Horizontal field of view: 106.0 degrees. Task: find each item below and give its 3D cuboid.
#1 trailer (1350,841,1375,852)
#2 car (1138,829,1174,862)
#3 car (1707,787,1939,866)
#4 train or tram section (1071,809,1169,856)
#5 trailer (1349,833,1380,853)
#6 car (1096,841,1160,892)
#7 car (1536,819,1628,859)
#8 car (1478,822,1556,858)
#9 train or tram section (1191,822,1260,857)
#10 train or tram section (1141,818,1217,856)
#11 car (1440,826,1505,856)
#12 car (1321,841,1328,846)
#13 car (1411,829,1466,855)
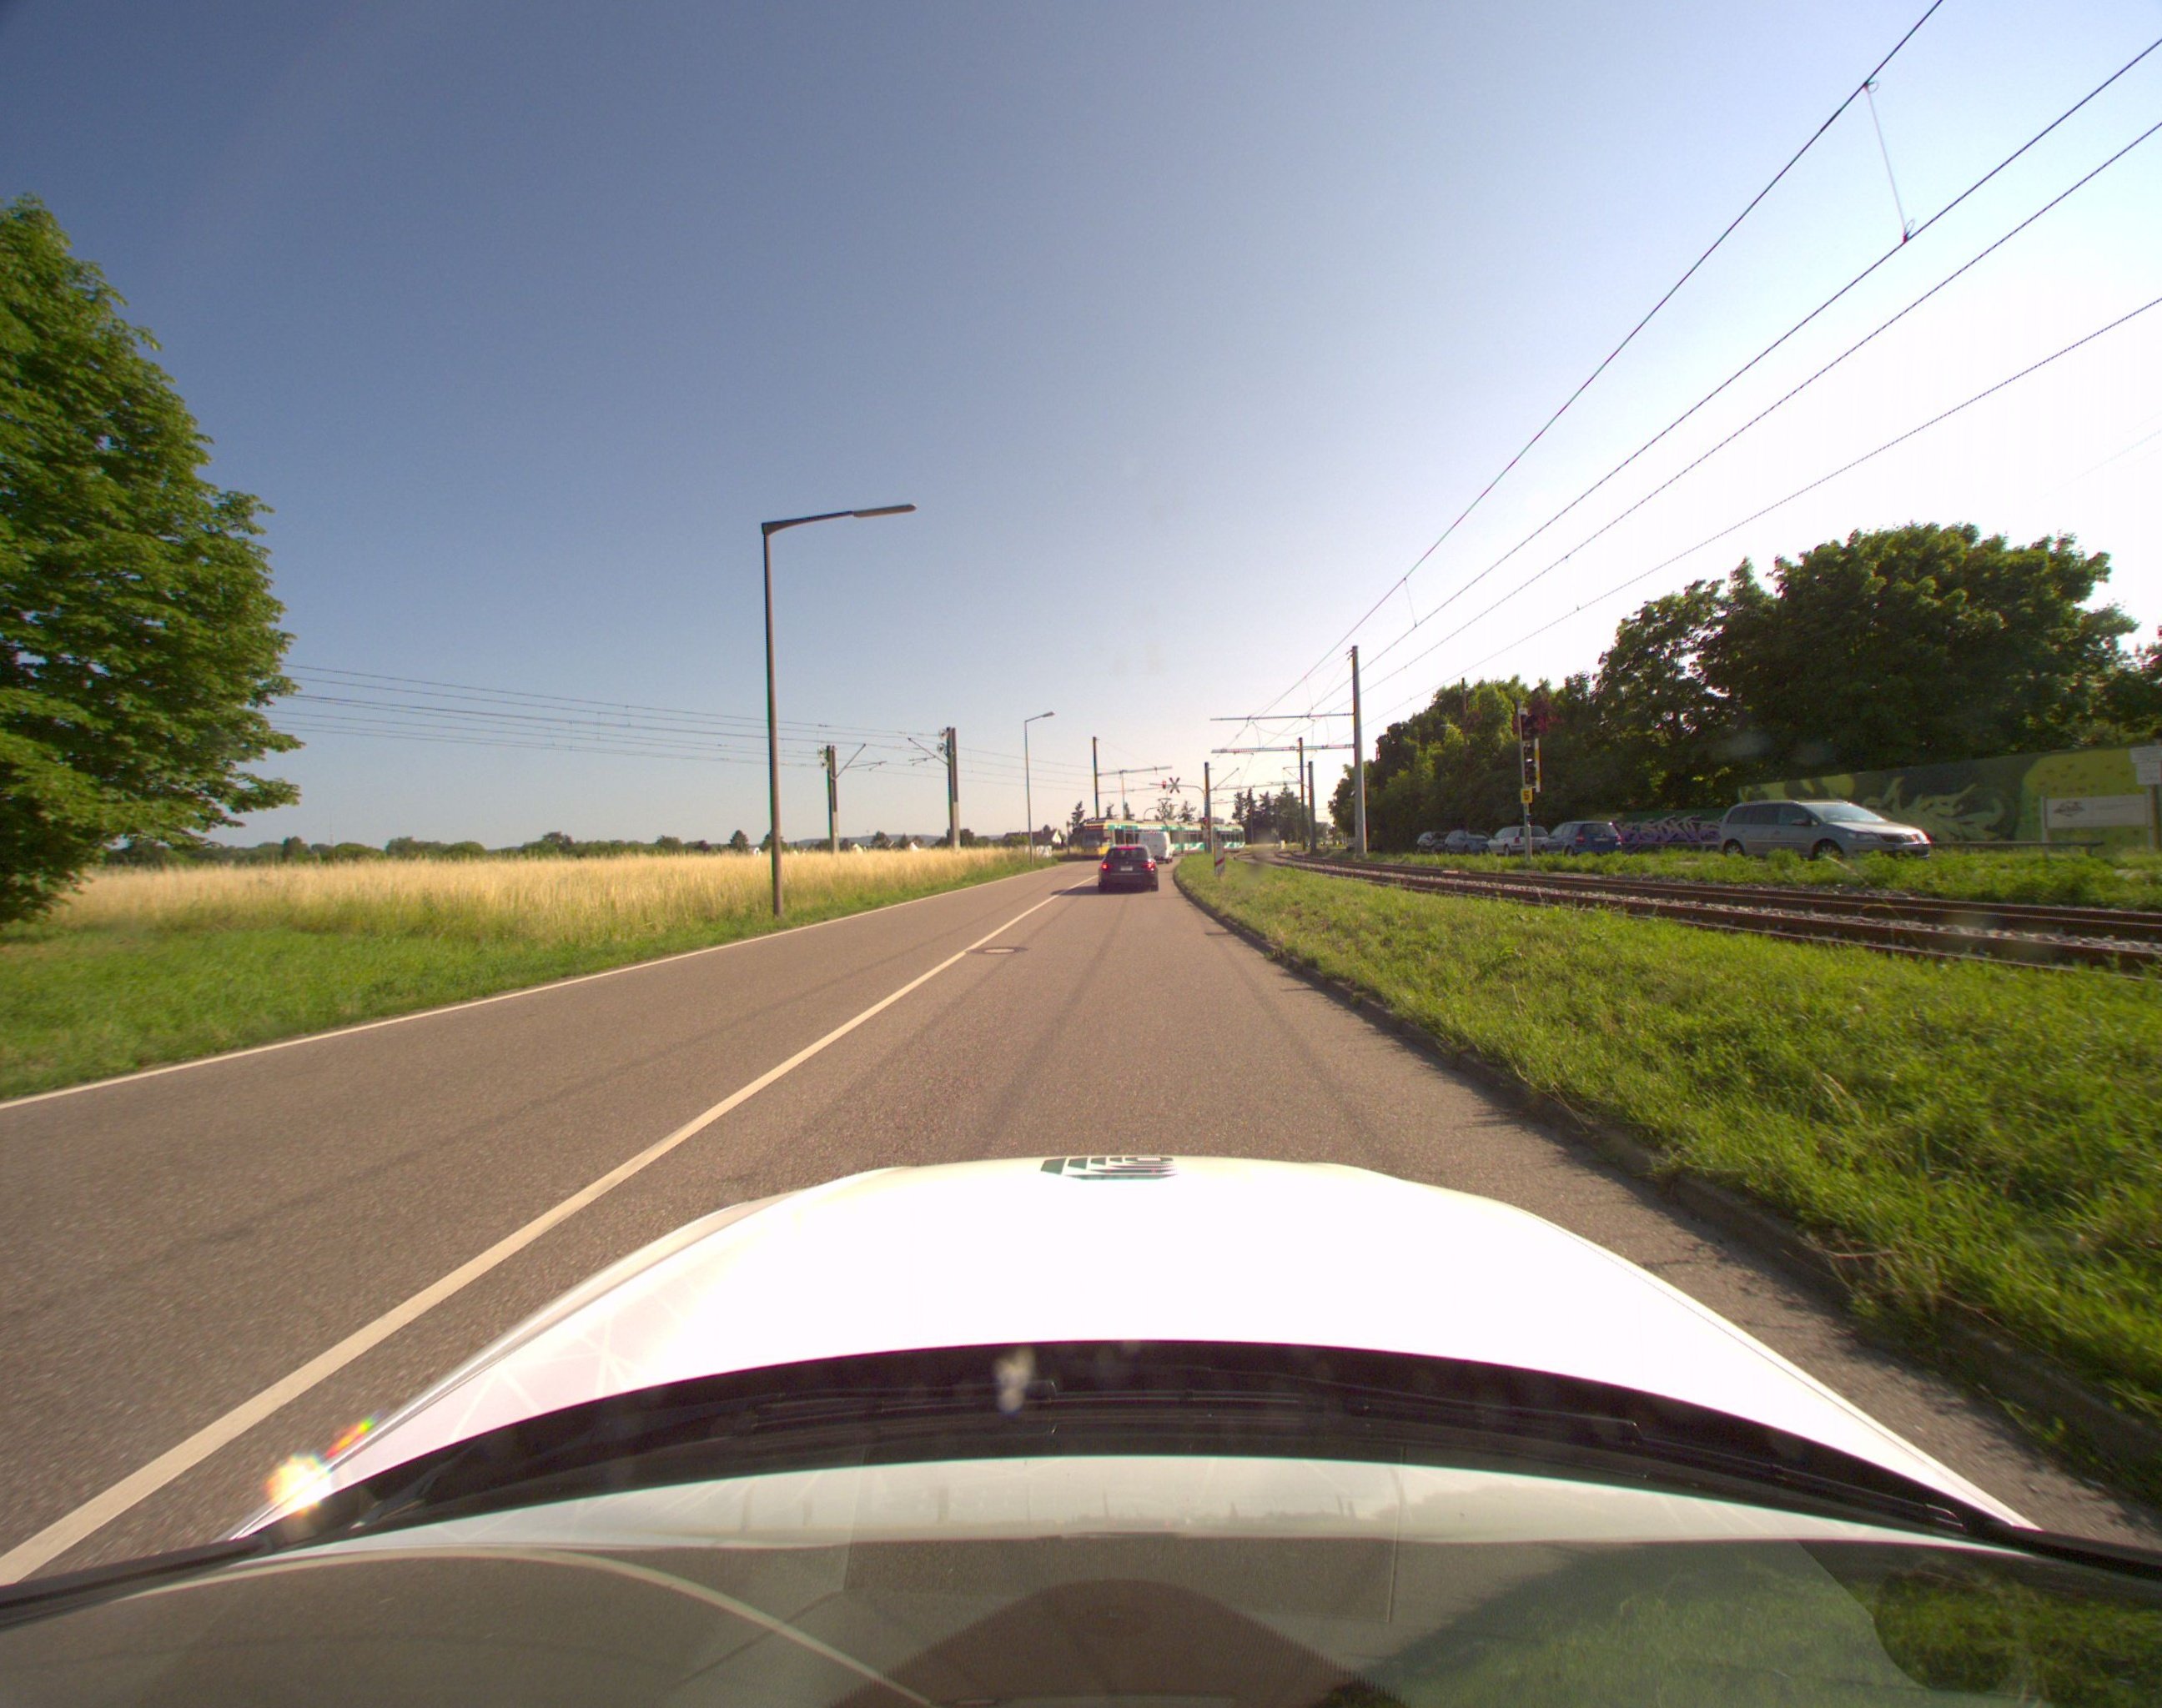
[{"bbox_3d":[24.939,-0.665,72.221,1.719,0.939,3.742,1,1,14],"label":"trailer"},{"bbox_3d":[4.786,-0.558,51.681,1.846,1.988,5.122,-1,1,10],"label":"car"},{"bbox_3d":[17.595,-0.611,19.665,1.517,1.610,4.485,-3,1,1],"label":"car"},{"bbox_3d":[3.637,-1.693,70.447,2.922,3.485,12.240,-1,-2,31],"label":"train or tram section"},{"bbox_3d":[23.760,-0.913,68.326,2.012,1.596,4.275,1,1,13],"label":"trailer"},{"bbox_3d":[1.545,0.342,26.710,1.861,1.452,4.748,-1,1,3],"label":"car"},{"bbox_3d":[19.305,-0.589,31.561,1.668,1.430,3.922,0,1,9],"label":"car"},{"bbox_3d":[19.990,-0.649,37.523,1.700,1.465,4.400,-2,1,8],"label":"car"},{"bbox_3d":[16.664,-1.501,92.500,2.879,3.568,14.349,-1,-1,30],"label":"train or tram section"},{"bbox_3d":[9.953,-1.558,81.020,2.889,3.454,12.240,-1,-1,30],"label":"train or tram section"},{"bbox_3d":[20.224,-0.671,42.217,1.478,1.401,4.153,-2,0,3],"label":"car"},{"bbox_3d":[75.177,-3.226,251.335,1.678,1.439,4.307,-1,1,23],"label":"car"},{"bbox_3d":[20.732,-0.677,47.371,1.614,1.410,4.528,-1,0,5],"label":"car"}]
